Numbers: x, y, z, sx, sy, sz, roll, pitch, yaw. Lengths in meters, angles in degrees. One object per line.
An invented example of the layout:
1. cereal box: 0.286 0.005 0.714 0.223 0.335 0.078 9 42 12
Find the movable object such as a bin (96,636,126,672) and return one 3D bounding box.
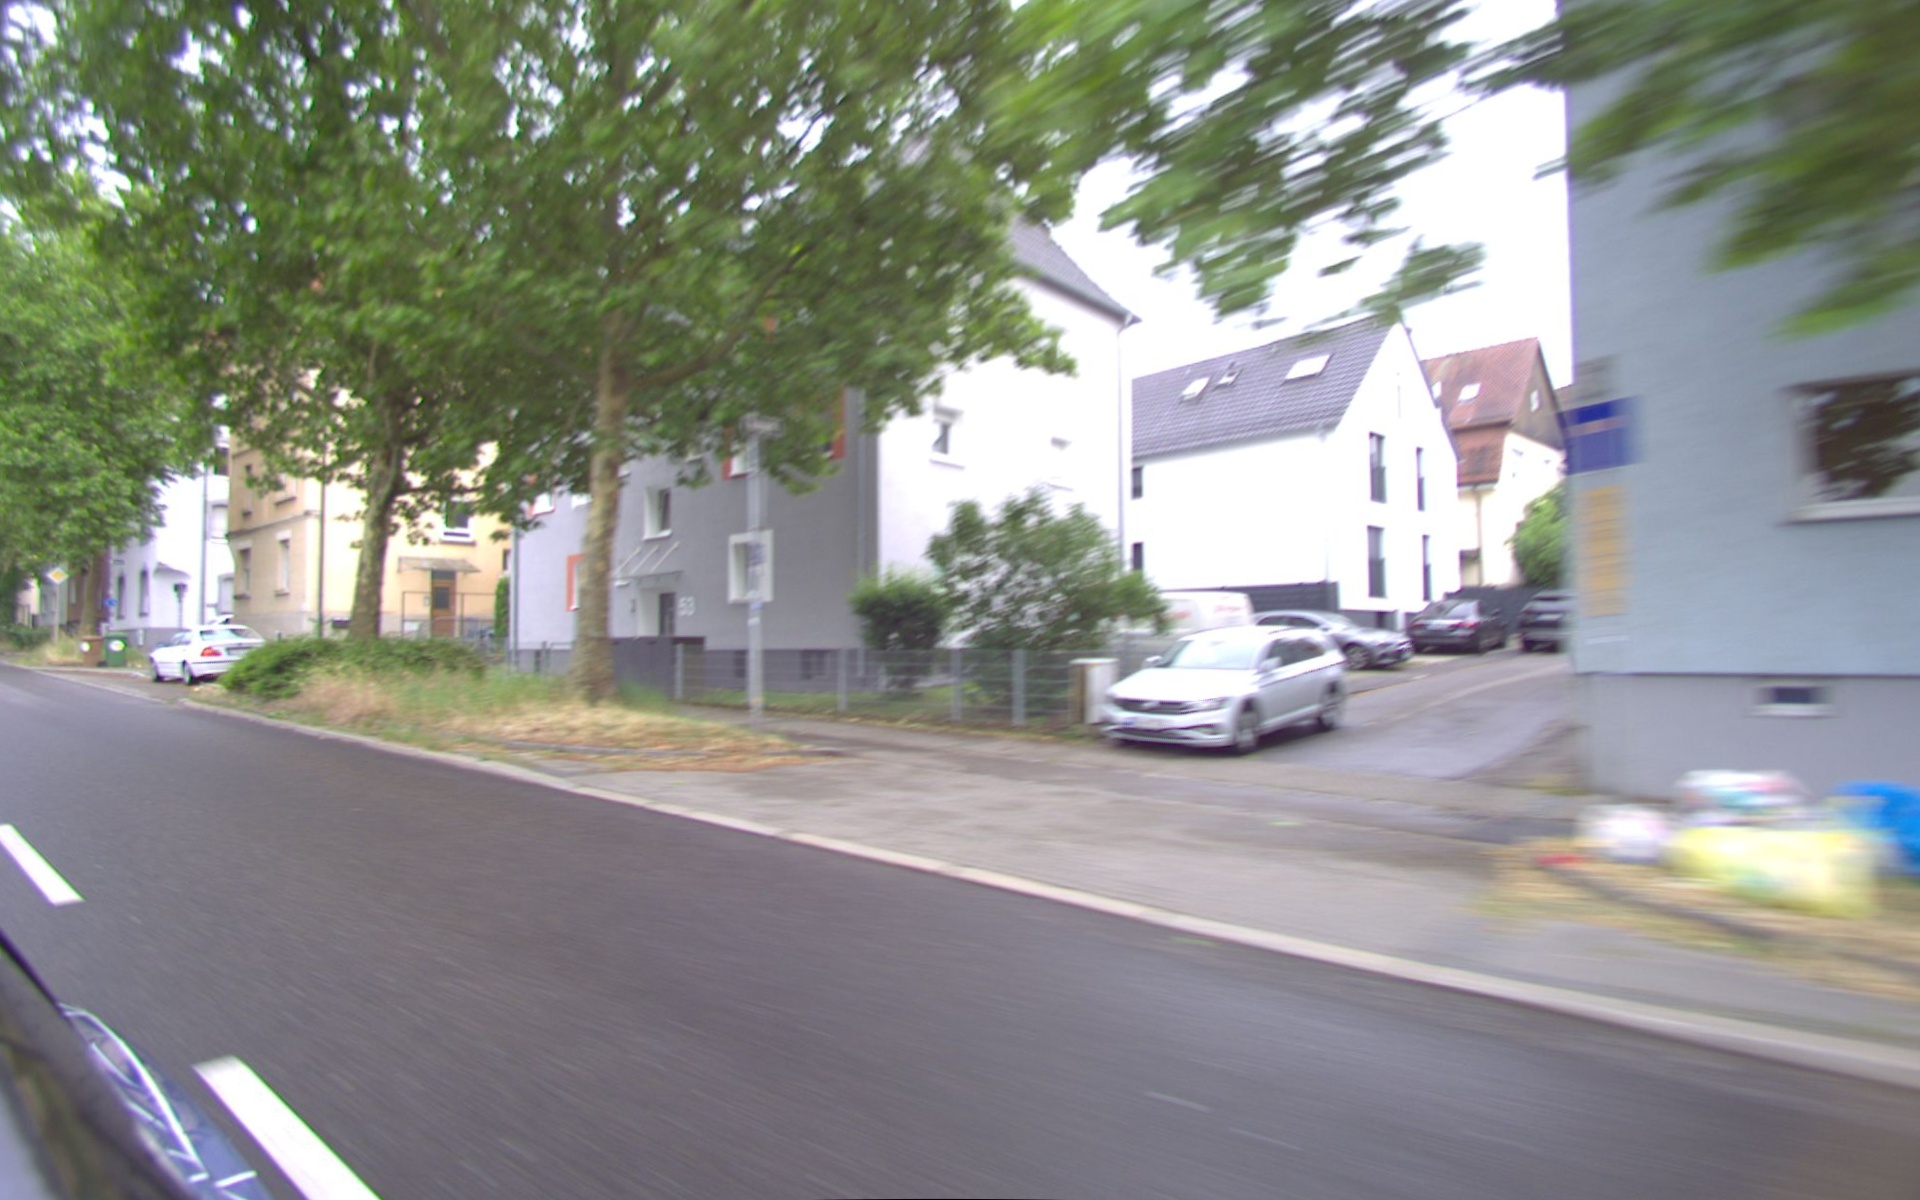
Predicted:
1. movable object such as a bin: -25.877 1.633 30.842 0.762 1.065 0.529 0 -3 41

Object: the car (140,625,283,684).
1. car: -18.853 1.303 25.418 4.532 1.336 1.739 -1 -1 38

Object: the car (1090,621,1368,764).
1. car: 3.820 1.095 13.777 1.869 1.488 4.615 0 0 40

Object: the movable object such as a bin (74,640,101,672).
1. movable object such as a bin: -26.194 1.671 30.380 0.581 0.935 0.507 0 -3 41

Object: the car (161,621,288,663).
1. car: -35.187 1.940 48.513 2.019 1.791 4.623 -1 0 40

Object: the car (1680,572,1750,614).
1. car: 30.947 -0.310 41.447 1.865 1.598 3.943 0 2 43

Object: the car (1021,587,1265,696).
1. car: 3.530 0.735 20.172 1.862 1.934 4.556 0 0 -44

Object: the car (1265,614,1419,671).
1. car: 9.328 0.998 24.808 3.276 1.265 1.355 0 0 42

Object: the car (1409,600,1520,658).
1. car: 14.235 0.761 28.463 1.719 1.490 3.943 0 0 43

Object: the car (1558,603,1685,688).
1. car: 12.864 0.858 19.620 1.616 1.473 3.126 -4 -2 40

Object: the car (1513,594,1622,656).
1. car: 17.377 0.661 28.892 1.865 1.650 3.943 0 0 43
